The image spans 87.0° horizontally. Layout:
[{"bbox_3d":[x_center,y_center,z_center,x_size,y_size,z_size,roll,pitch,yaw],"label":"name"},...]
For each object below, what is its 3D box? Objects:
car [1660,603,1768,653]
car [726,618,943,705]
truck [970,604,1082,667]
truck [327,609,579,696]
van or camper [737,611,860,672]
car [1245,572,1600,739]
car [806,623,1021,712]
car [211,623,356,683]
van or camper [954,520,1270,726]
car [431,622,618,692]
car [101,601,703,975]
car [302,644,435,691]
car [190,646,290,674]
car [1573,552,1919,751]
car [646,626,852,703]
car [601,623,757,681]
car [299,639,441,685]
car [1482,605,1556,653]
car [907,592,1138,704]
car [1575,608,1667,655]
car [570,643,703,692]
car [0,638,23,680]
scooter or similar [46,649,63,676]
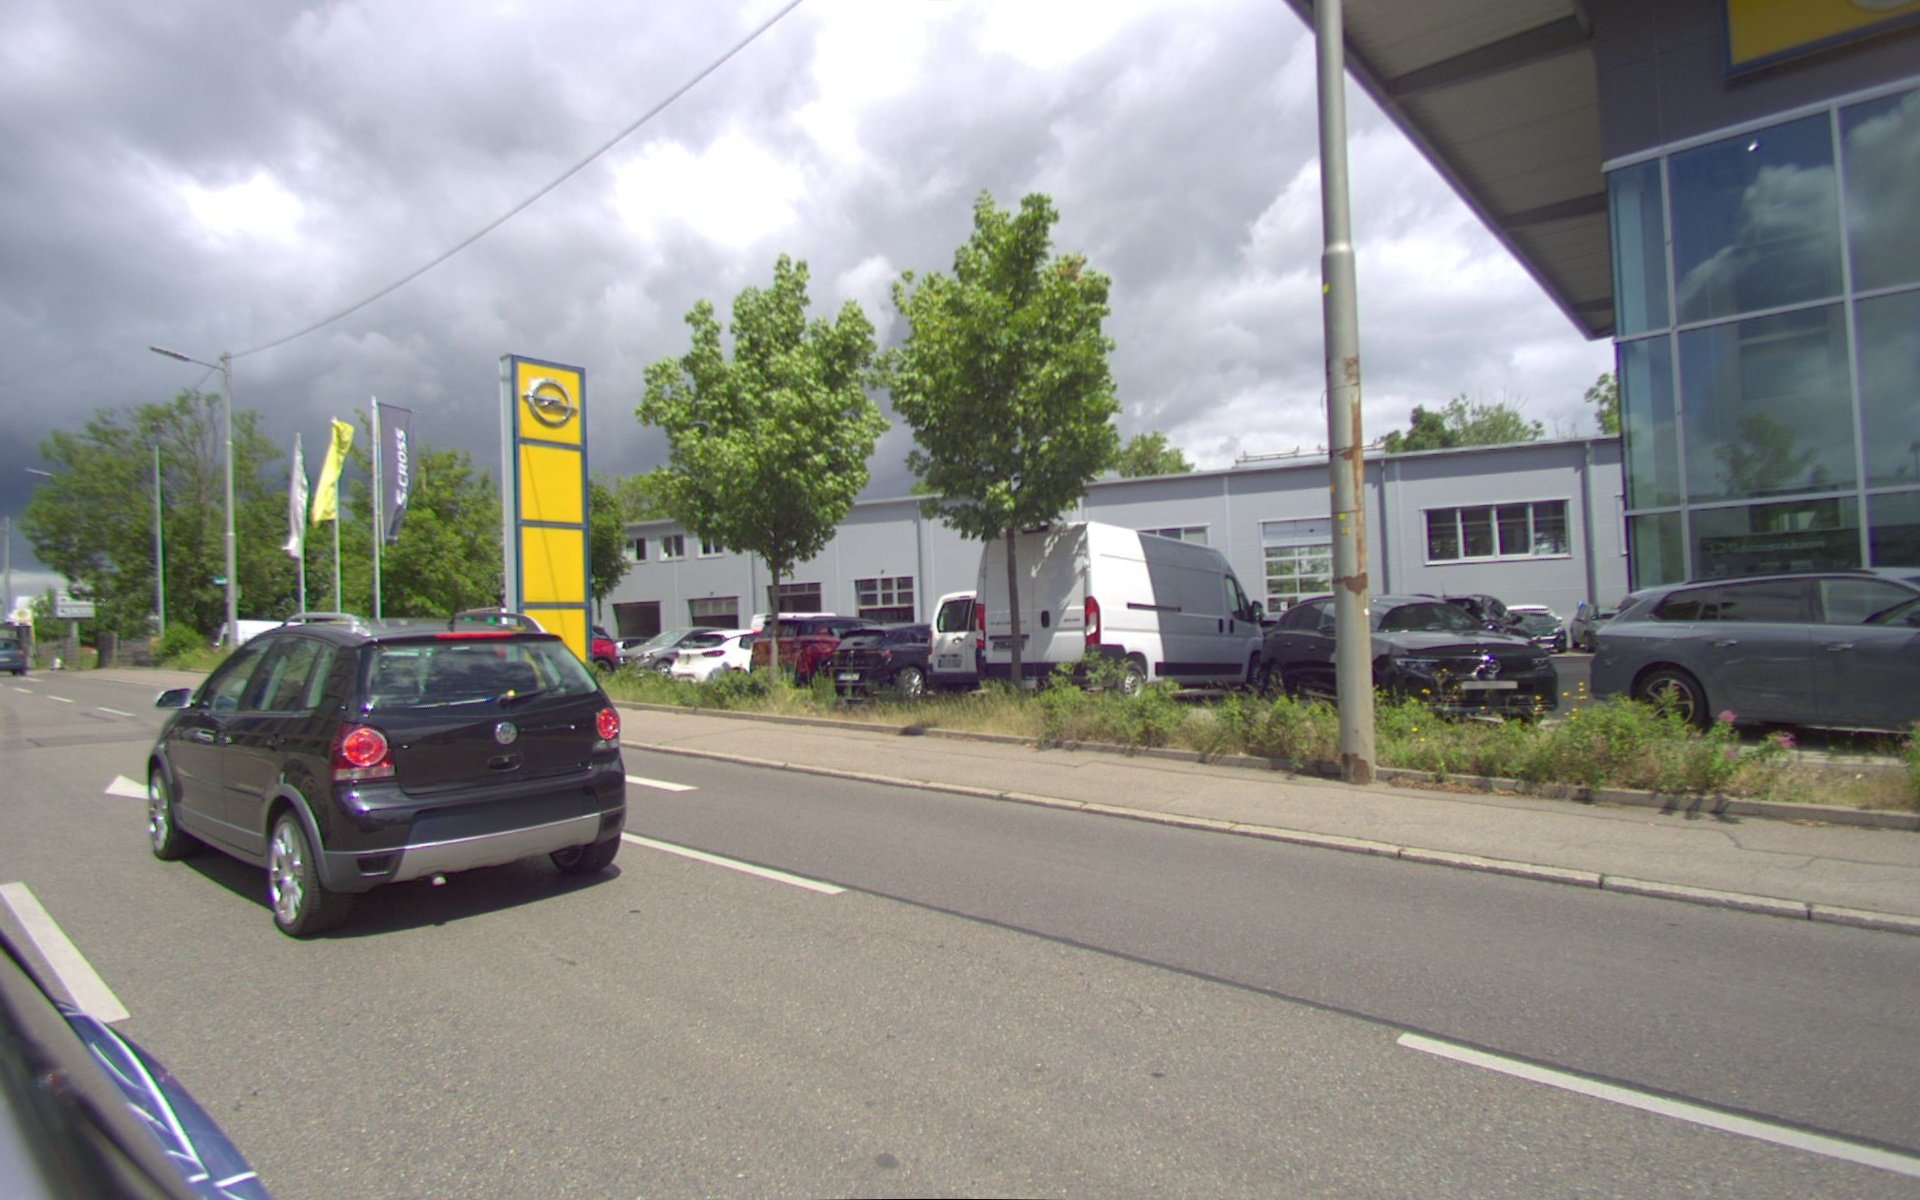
[{"bbox_3d":[21.839,0.809,29.447,1.652,1.294,3.451,-4,-2,23],"label":"car"},{"bbox_3d":[-2.462,1.199,20.478,2.000,1.503,3.943,-5,-3,44],"label":"car"},{"bbox_3d":[2.725,1.343,39.645,2.682,2.246,6.270,-1,-2,21],"label":"truck"},{"bbox_3d":[-13.952,1.372,28.228,2.473,2.164,5.805,-1,-2,38],"label":"truck"},{"bbox_3d":[-6.812,1.764,43.504,2.487,2.373,5.856,-3,-2,22],"label":"van or camper"},{"bbox_3d":[4.914,0.573,11.615,1.915,1.520,4.477,-1,-2,-1],"label":"car"},{"bbox_3d":[-0.791,1.195,19.240,1.927,1.420,3.946,-2,-1,40],"label":"car"},{"bbox_3d":[-25.673,1.985,38.485,2.196,2.029,4.119,-4,-3,39],"label":"car"},{"bbox_3d":[2.451,0.343,15.192,2.316,2.550,4.975,-5,-3,40],"label":"van or camper"},{"bbox_3d":[-10.909,1.474,25.536,1.753,1.601,3.944,-4,-6,42],"label":"car"},{"bbox_3d":[-3.613,0.830,6.203,4.273,1.520,1.811,-2,-2,40],"label":"car"},{"bbox_3d":[-19.549,2.207,33.526,1.712,1.335,3.505,-2,-1,44],"label":"car"},{"bbox_3d":[-39.290,3.262,55.272,4.226,1.391,1.867,1,-3,-44],"label":"car"},{"bbox_3d":[7.802,0.365,8.006,1.868,1.462,4.847,-2,-2,-21],"label":"car"},{"bbox_3d":[-4.449,1.307,21.757,1.998,1.420,3.947,-2,-1,40],"label":"car"},{"bbox_3d":[-8.051,1.542,29.294,1.825,1.534,4.037,-4,-6,40],"label":"car"},{"bbox_3d":[-20.828,2.153,35.830,1.929,1.397,3.987,-2,-1,44],"label":"car"},{"bbox_3d":[18.054,0.940,32.797,1.652,1.409,3.451,-4,-2,23],"label":"car"},{"bbox_3d":[1.180,0.797,17.671,1.999,1.719,3.946,-5,-3,41],"label":"car"},{"bbox_3d":[19.917,0.942,30.639,1.652,1.294,3.451,-4,-2,23],"label":"car"},{"bbox_3d":[-10.307,2.119,32.421,1.645,1.338,3.783,-2,-1,41],"label":"car"},{"bbox_3d":[-39.287,2.374,40.759,4.039,1.608,1.726,-3,-4,40],"label":"car"},{"bbox_3d":[-44.399,3.077,49.613,0.528,1.275,1.473,-2,-2,-43],"label":"scooter or similar"}]
